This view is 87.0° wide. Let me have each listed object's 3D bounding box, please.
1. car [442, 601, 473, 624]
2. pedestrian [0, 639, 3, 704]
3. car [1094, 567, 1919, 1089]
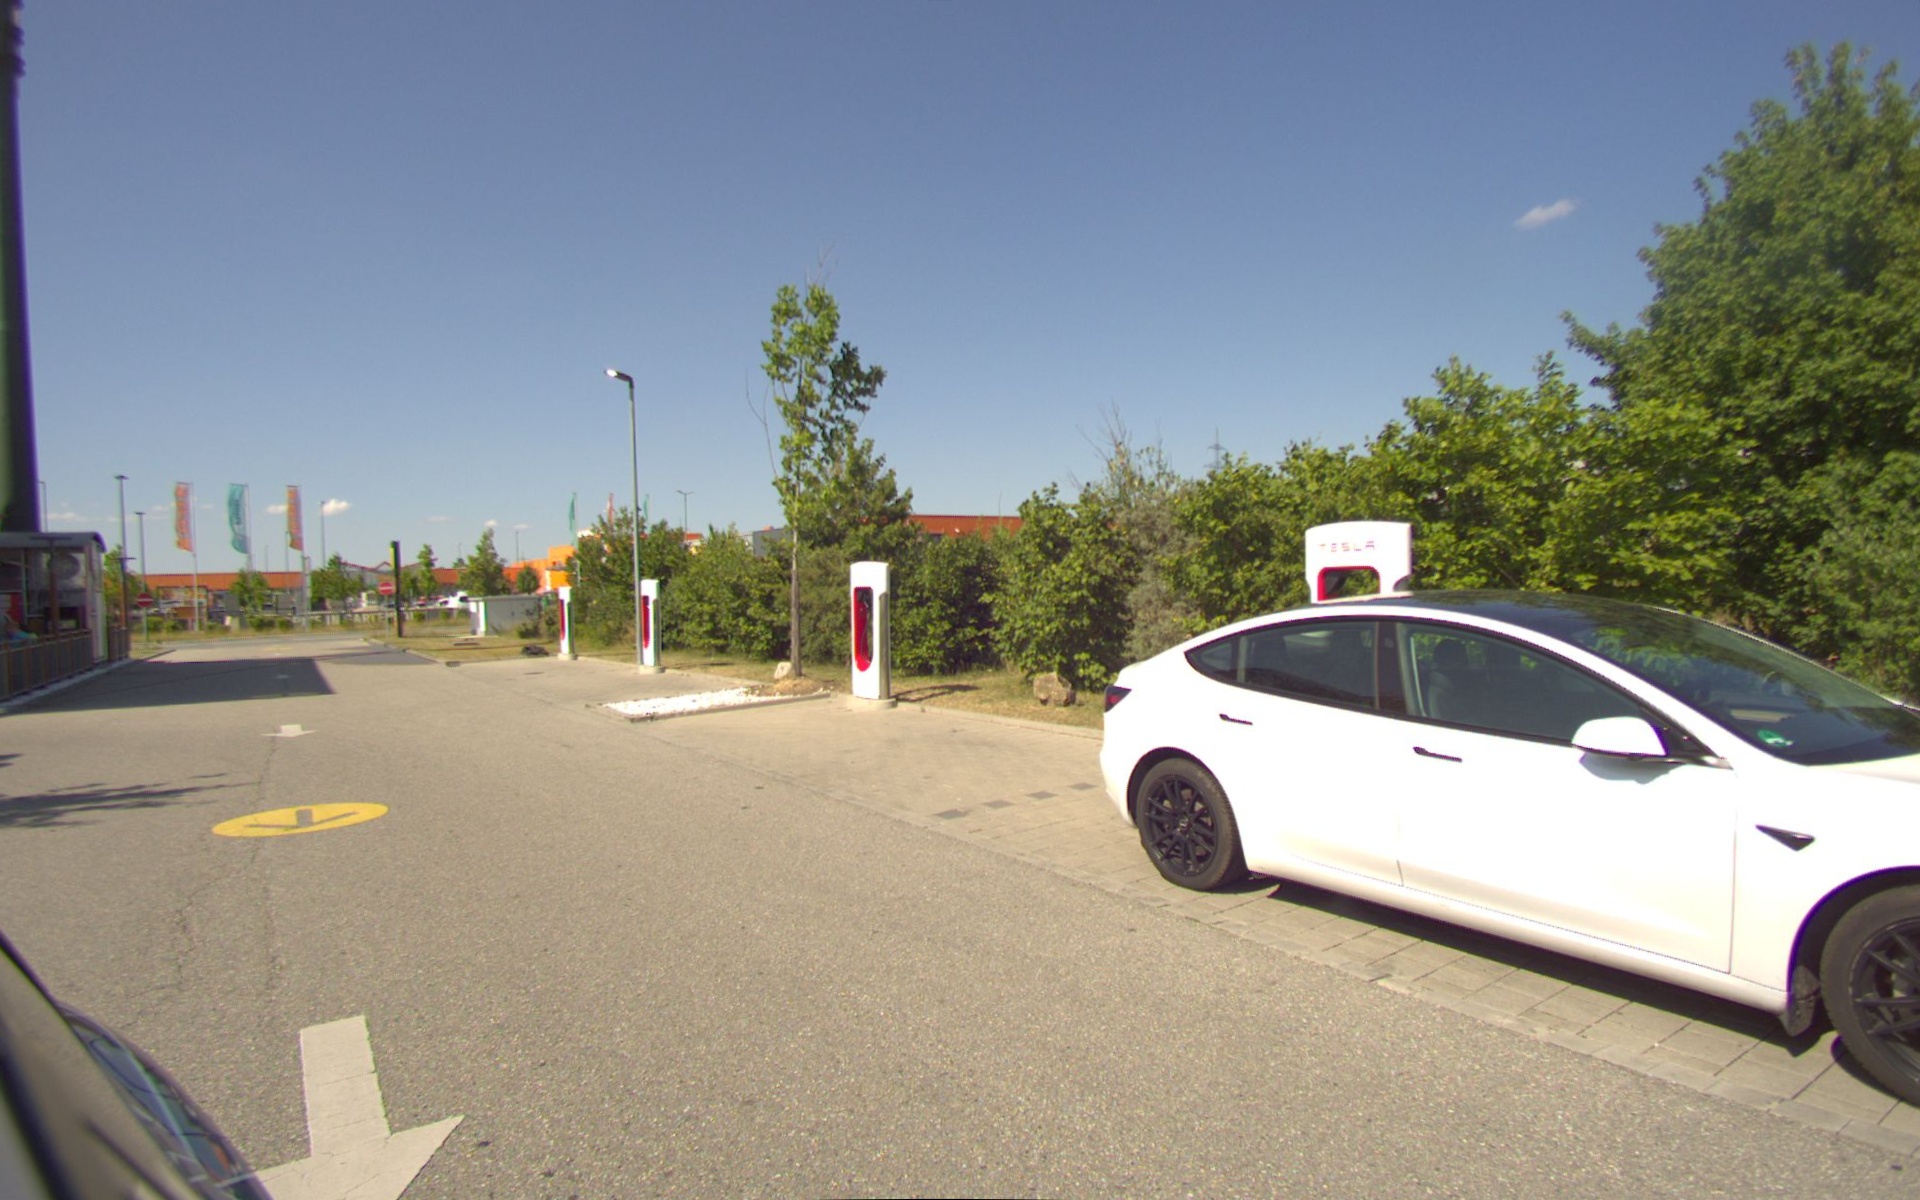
[{"bbox_3d":[-47.607,1.173,95.846,1.967,2.029,4.010,-2,0,-35],"label":"car"},{"bbox_3d":[-16.843,1.157,17.229,0.718,1.267,0.574,-3,1,-40],"label":"pedestrian"},{"bbox_3d":[2.714,0.609,4.168,1.792,1.388,4.461,-3,1,-33],"label":"car"}]
